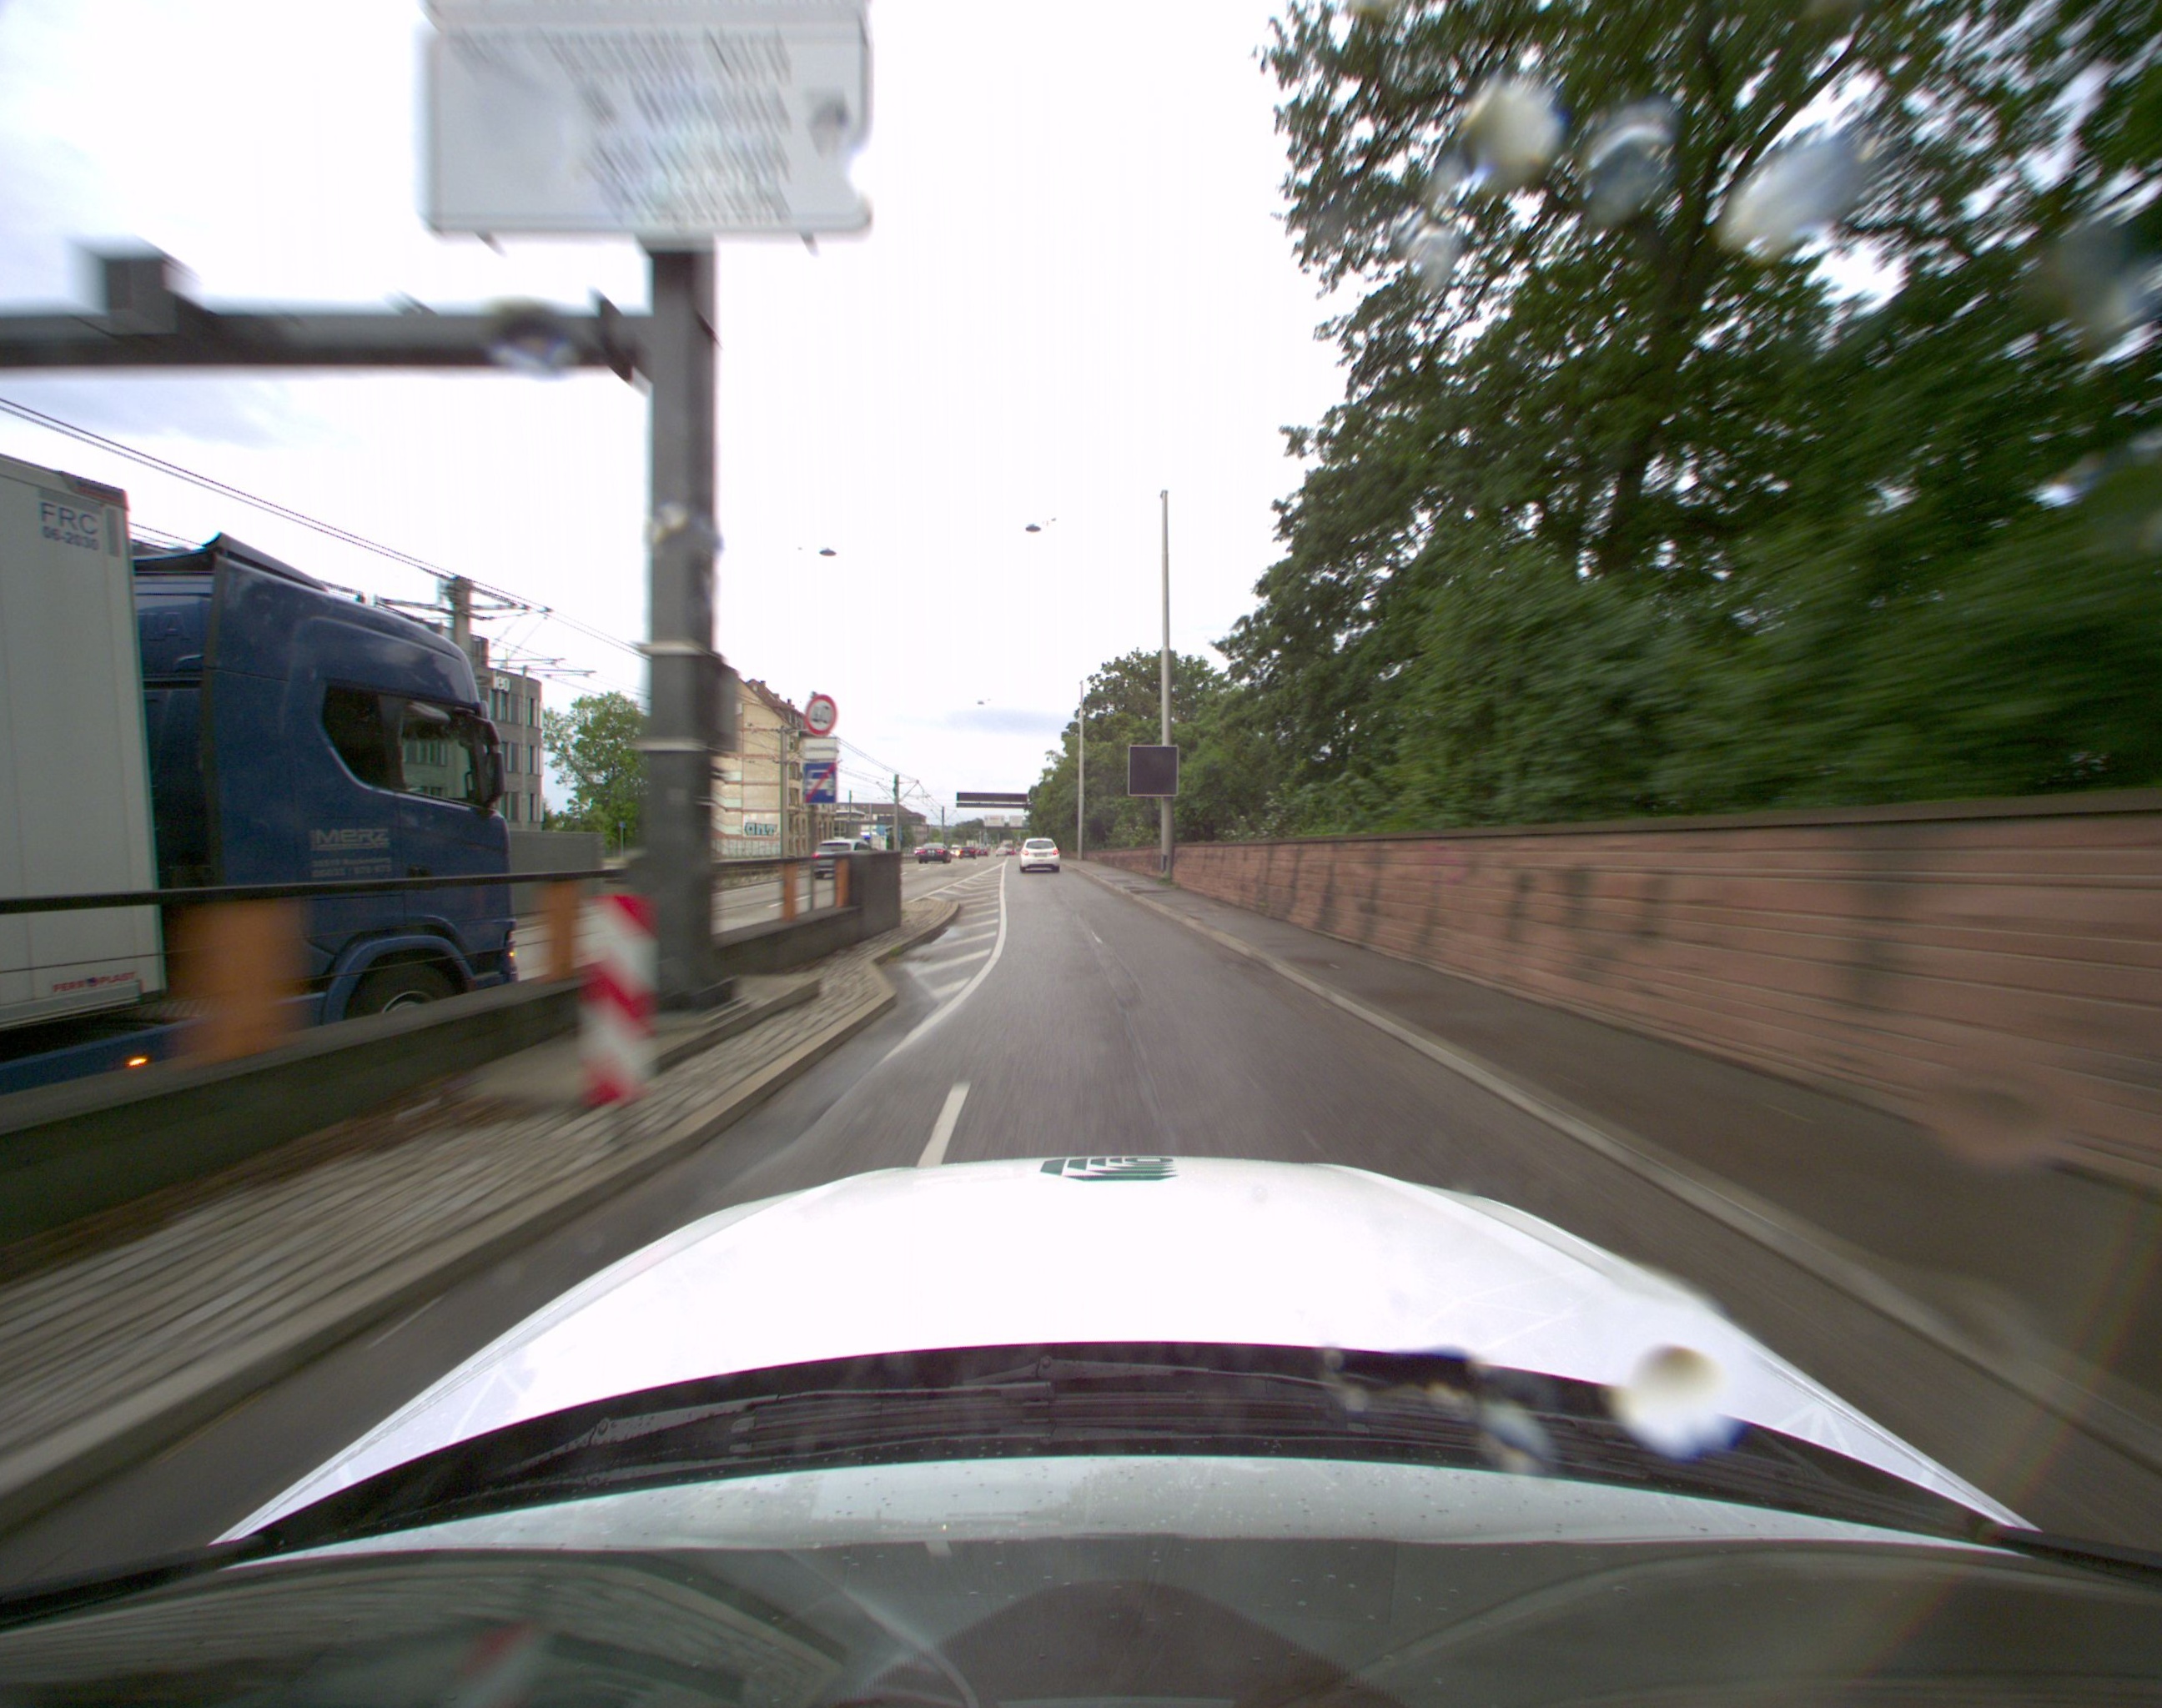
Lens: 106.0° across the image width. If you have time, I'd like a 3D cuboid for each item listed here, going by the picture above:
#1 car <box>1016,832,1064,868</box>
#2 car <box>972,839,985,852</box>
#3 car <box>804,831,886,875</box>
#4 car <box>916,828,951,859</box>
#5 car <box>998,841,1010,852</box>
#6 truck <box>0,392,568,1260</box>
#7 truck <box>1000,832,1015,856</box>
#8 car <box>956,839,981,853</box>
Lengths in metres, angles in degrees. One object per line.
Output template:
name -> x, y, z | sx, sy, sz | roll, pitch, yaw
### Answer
car -> -1.888, -0.162, 36.552 | 1.952, 1.488, 3.992 | 2, 0, -5
car -> -17.566, -1.424, 139.739 | 1.991, 2.014, 3.991 | 2, -3, -5
car -> -9.166, -0.060, 32.017 | 1.813, 1.565, 4.095 | -1, 0, 3
car -> -9.709, -0.735, 53.873 | 1.717, 1.890, 3.534 | 1, 4, -1
car -> -13.591, -1.319, 143.477 | 2.078, 1.872, 4.089 | 0, -1, -5
truck -> -6.572, -0.140, 4.607 | 2.751, 4.197, 6.789 | 0, 1, 3
truck -> -18.903, -2.409, 209.895 | 3.457, 5.402, 12.034 | 2, -3, -3
car -> -12.465, -0.872, 90.355 | 1.985, 1.575, 4.004 | 0, 0, 4
